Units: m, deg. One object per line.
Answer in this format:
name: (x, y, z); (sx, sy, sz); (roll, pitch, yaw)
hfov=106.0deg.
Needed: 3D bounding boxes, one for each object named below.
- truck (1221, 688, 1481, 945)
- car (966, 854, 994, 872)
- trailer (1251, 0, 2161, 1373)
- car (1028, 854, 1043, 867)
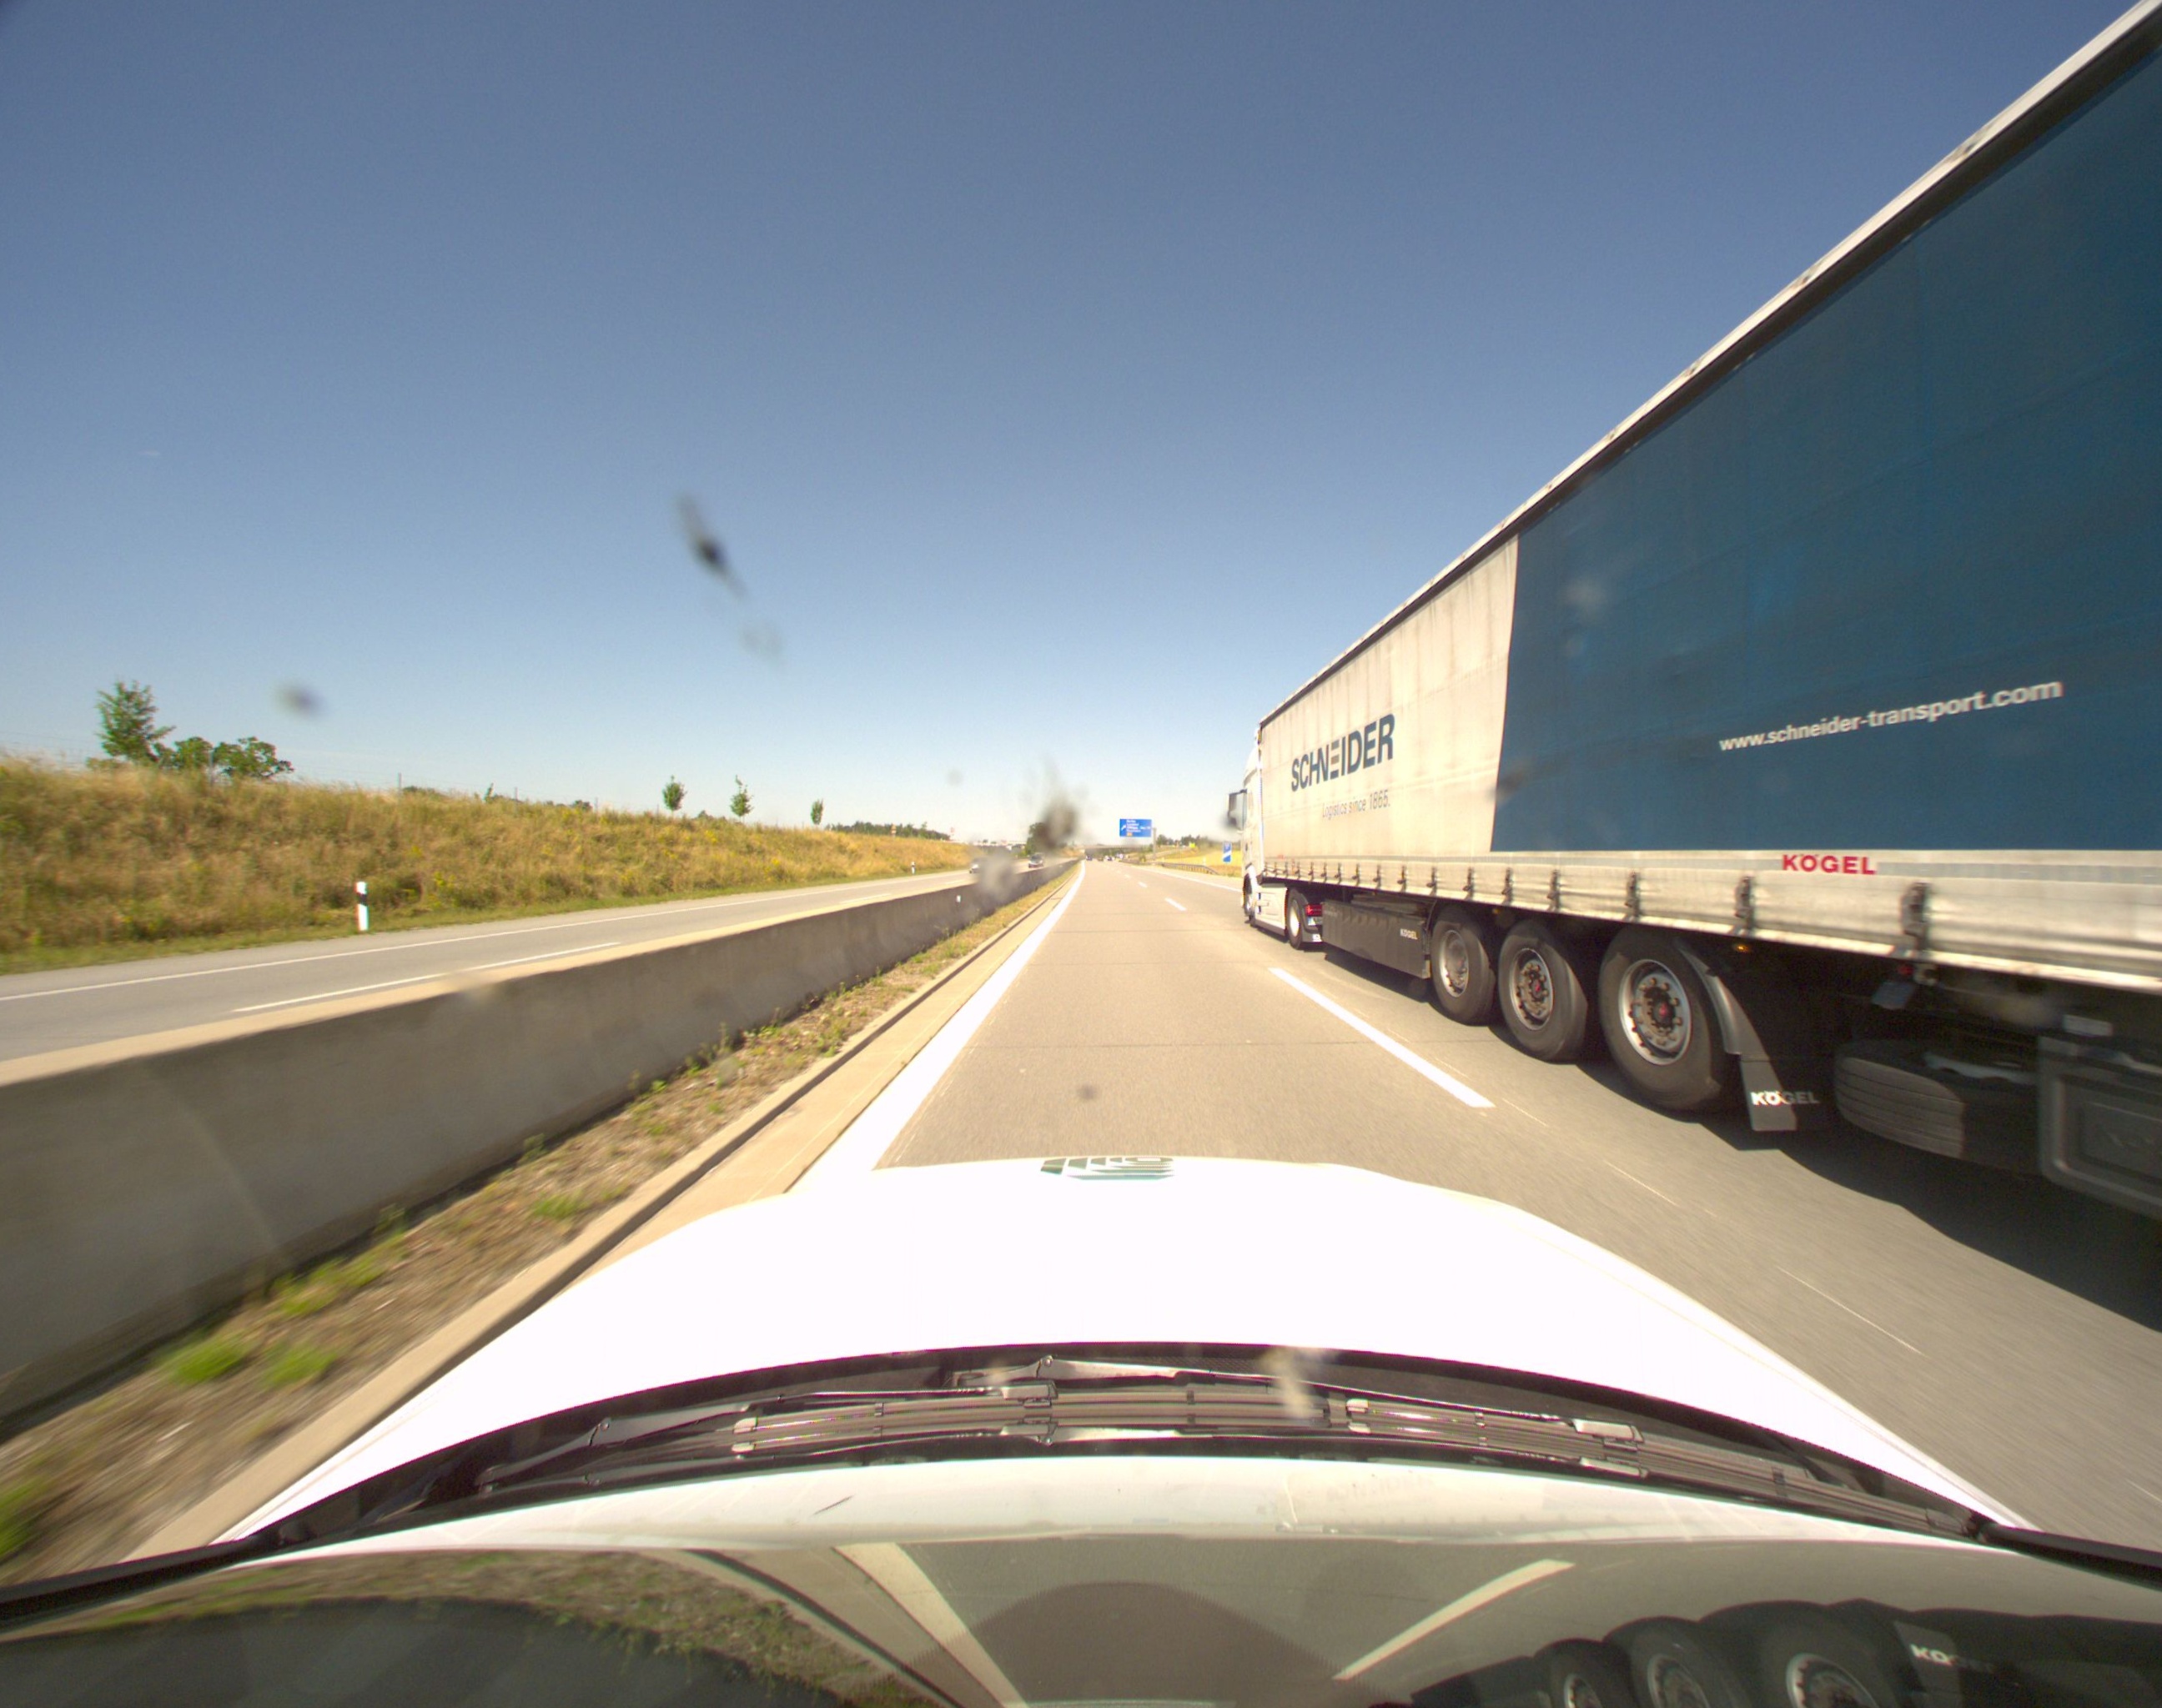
truck: (4.876, -0.608, 16.189); (3.072, 4.014, 6.189); (-2, 0, 1)
car: (-8.910, 0.786, 72.348); (1.873, 1.502, 4.564); (-2, 0, 0)
trailer: (4.736, -0.733, 7.979); (3.165, 4.294, 15.465); (-2, 0, 2)
car: (-5.641, 0.745, 101.379); (1.875, 1.575, 4.561); (0, 0, -3)
